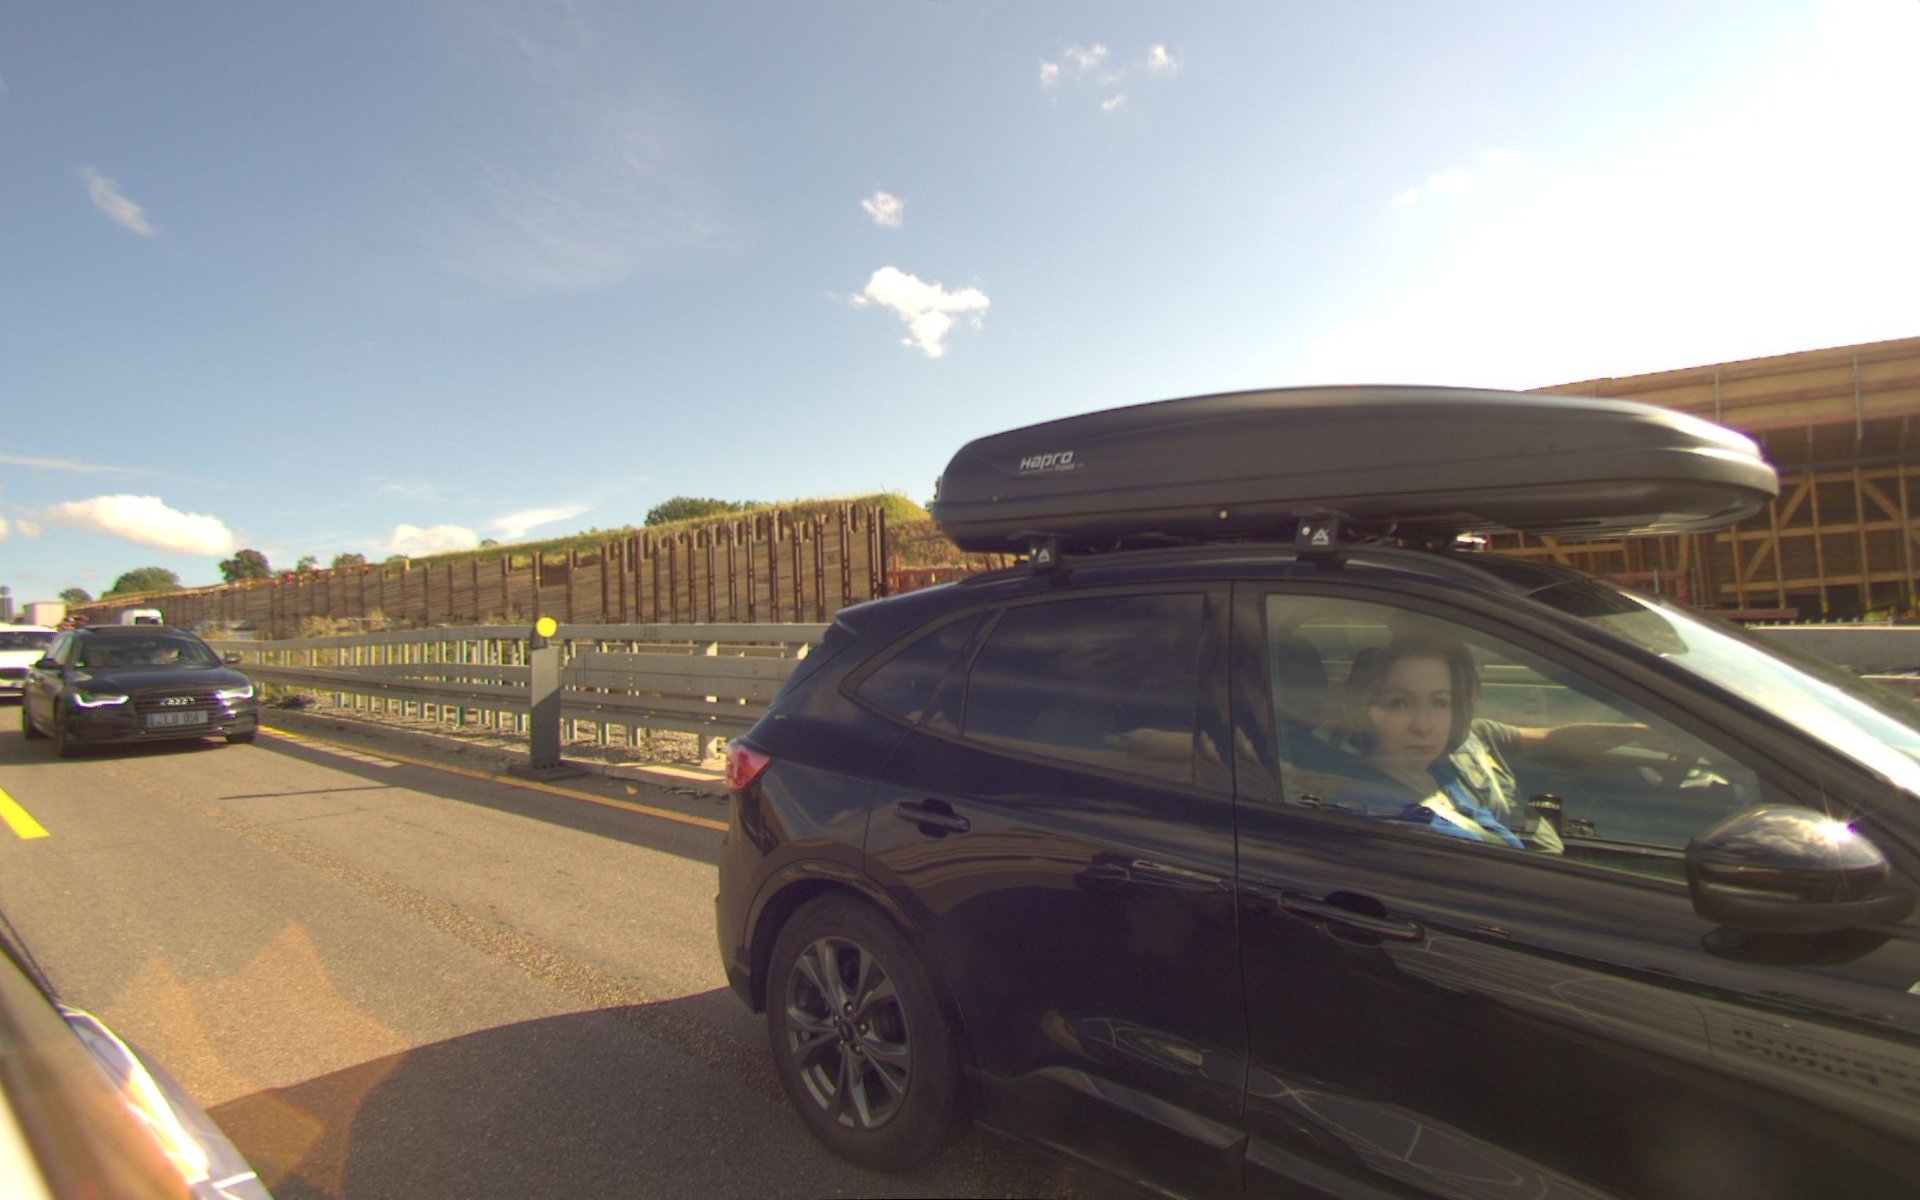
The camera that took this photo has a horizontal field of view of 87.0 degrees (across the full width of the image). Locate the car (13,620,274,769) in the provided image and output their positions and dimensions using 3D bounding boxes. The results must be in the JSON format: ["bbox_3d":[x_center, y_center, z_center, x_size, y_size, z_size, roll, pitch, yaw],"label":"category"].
[{"bbox_3d":[-10.332,1.021,12.674,4.505,1.441,1.923,0,0,43],"label":"car"}]

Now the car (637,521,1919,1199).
[{"bbox_3d":[1.260,0.655,2.286,4.383,1.554,1.781,0,2,42],"label":"car"}]

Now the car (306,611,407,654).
[{"bbox_3d":[-22.568,1.173,37.801,4.406,1.441,1.924,0,1,41],"label":"car"}]

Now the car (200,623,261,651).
[{"bbox_3d":[-43.007,2.129,59.624,4.406,1.441,1.924,0,1,41],"label":"car"}]

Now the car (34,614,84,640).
[{"bbox_3d":[-87.362,2.596,98.047,6.402,2.360,2.850,-1,0,41],"label":"car"}]

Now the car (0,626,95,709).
[{"bbox_3d":[-18.631,1.261,19.883,4.407,1.441,1.923,-1,-1,42],"label":"car"}]

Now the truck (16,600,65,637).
[{"bbox_3d":[-101.612,1.982,111.776,8.231,3.895,3.137,-1,0,41],"label":"truck"}]

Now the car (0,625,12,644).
[{"bbox_3d":[-130.373,4.683,136.603,6.402,2.360,2.850,-1,0,41],"label":"car"}]

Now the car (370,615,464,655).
[{"bbox_3d":[-22.181,1.397,41.282,4.406,1.441,1.924,0,1,41],"label":"car"}]

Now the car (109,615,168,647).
[{"bbox_3d":[-63.596,2.345,78.302,6.402,2.360,2.539,-1,0,41],"label":"car"}]

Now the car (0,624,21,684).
[{"bbox_3d":[-26.706,1.440,27.300,3.998,1.530,1.637,-1,0,41],"label":"car"}]
